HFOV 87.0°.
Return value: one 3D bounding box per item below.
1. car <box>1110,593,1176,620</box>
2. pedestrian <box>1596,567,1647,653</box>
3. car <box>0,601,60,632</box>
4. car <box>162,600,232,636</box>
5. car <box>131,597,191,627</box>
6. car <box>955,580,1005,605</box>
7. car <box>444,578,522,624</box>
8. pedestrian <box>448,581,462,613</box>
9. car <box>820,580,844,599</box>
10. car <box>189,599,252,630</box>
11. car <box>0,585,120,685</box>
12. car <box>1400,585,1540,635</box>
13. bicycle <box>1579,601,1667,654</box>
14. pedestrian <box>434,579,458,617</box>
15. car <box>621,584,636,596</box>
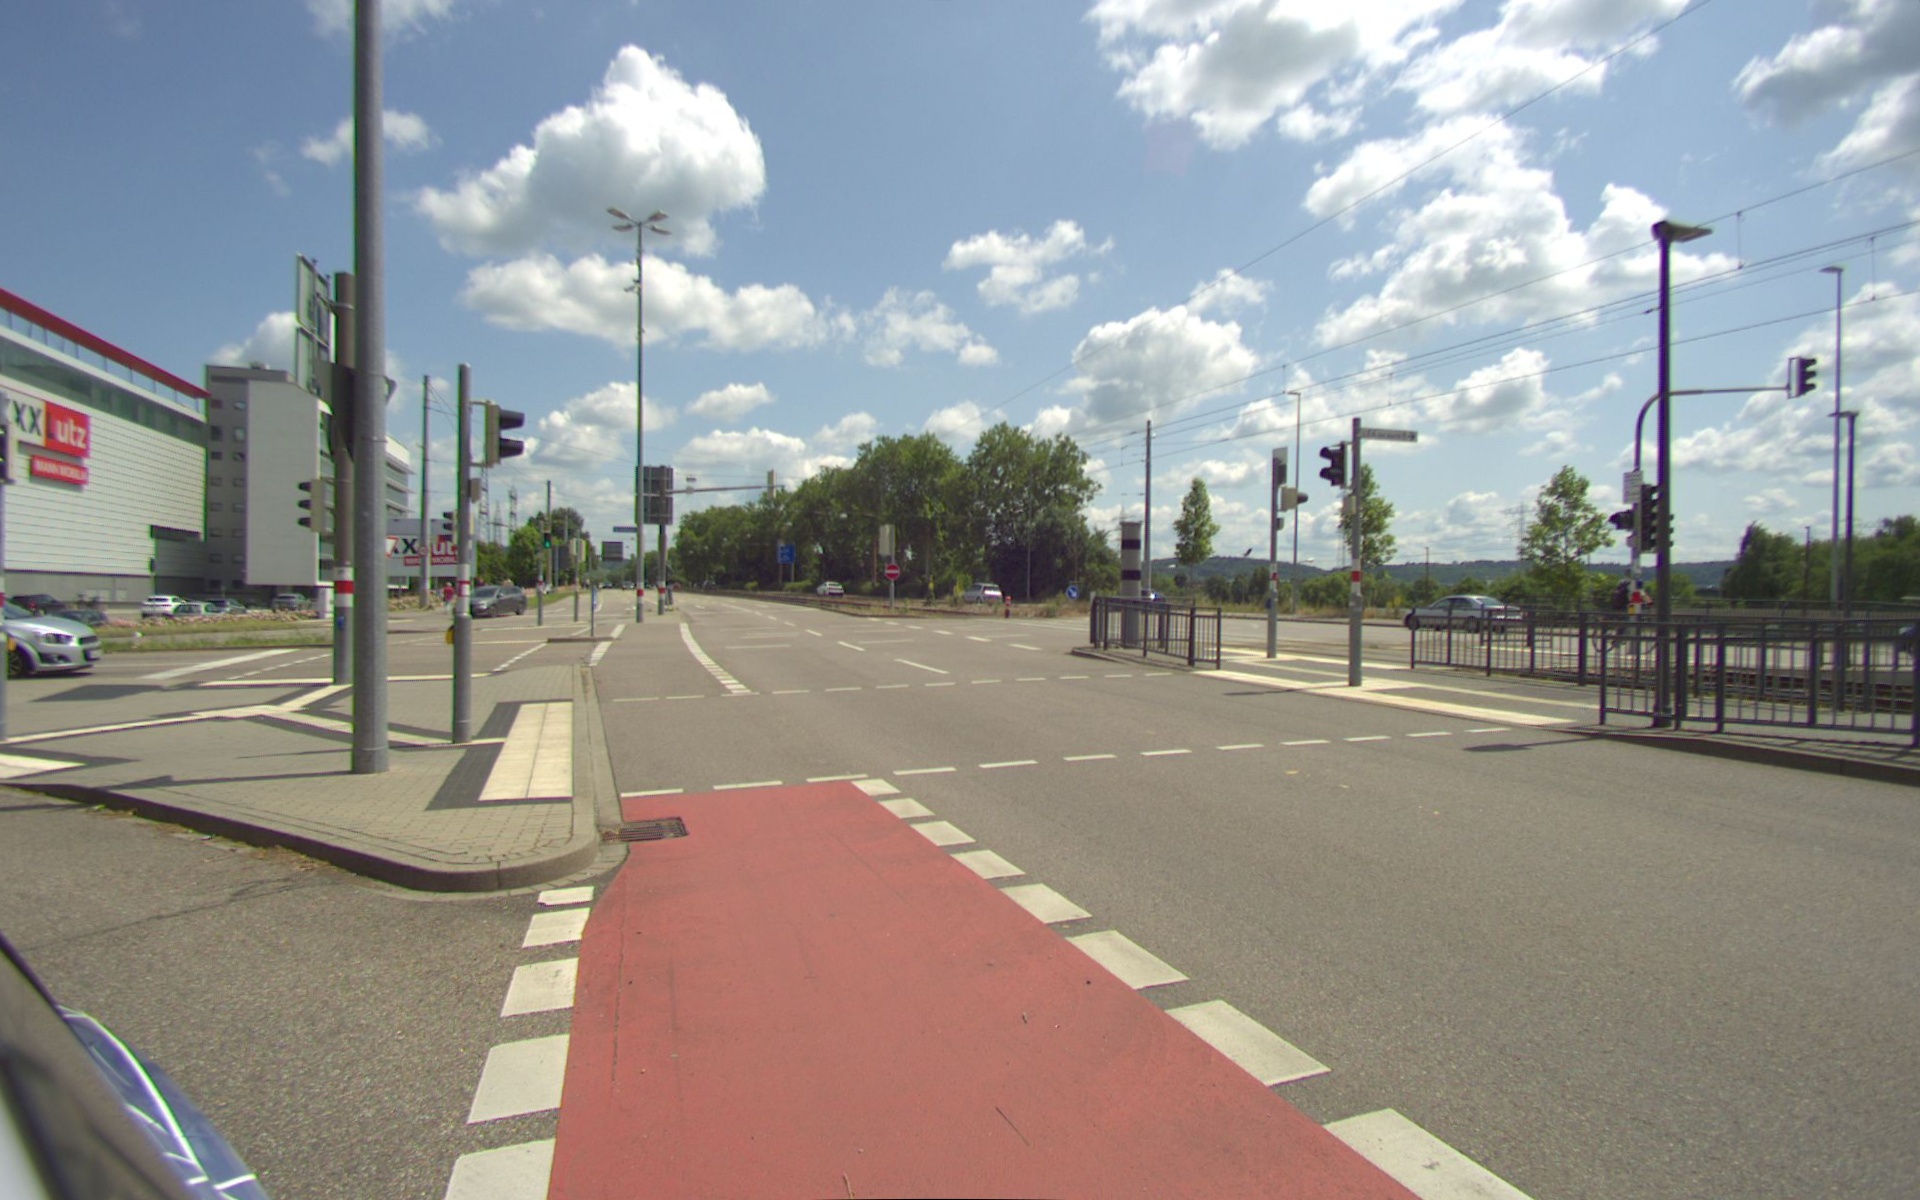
[{"bbox_3d":[10.174,0.347,56.516,1.641,1.419,3.905,-1,0,-27],"label":"car"},{"bbox_3d":[14.072,0.206,21.524,0.661,1.782,0.615,-1,0,-17],"label":"pedestrian"},{"bbox_3d":[-62.885,1.093,68.103,1.965,2.004,4.377,0,0,-20],"label":"car"},{"bbox_3d":[-43.401,1.000,57.663,1.965,2.004,4.377,0,0,-20],"label":"car"},{"bbox_3d":[-55.442,0.849,70.309,1.965,2.004,4.377,0,0,-20],"label":"car"},{"bbox_3d":[1.436,-0.520,73.792,1.782,1.671,4.336,5,-2,-26],"label":"car"},{"bbox_3d":[-22.384,0.070,47.655,1.970,2.029,4.003,-1,-1,-3],"label":"car"},{"bbox_3d":[-28.508,-0.163,57.103,0.587,1.824,0.536,-1,-1,-8],"label":"pedestrian"},{"bbox_3d":[-12.726,-1.041,100.482,1.967,1.822,5.147,0,0,-12],"label":"car"},{"bbox_3d":[-49.228,0.952,67.484,2.211,2.004,4.377,0,0,-20],"label":"car"},{"bbox_3d":[-16.175,0.585,16.164,3.767,1.480,1.907,-2,2,-21],"label":"car"},{"bbox_3d":[19.560,0.383,39.062,1.852,1.787,4.682,0,0,-25],"label":"car"},{"bbox_3d":[14.106,0.569,21.538,1.693,1.095,0.623,-1,0,-17],"label":"bicycle"},{"bbox_3d":[-25.319,-0.098,49.848,0.798,1.851,0.855,3,2,43],"label":"pedestrian"},{"bbox_3d":[-57.678,-1.772,176.063,1.967,2.029,4.010,-1,-1,-13],"label":"car"}]
